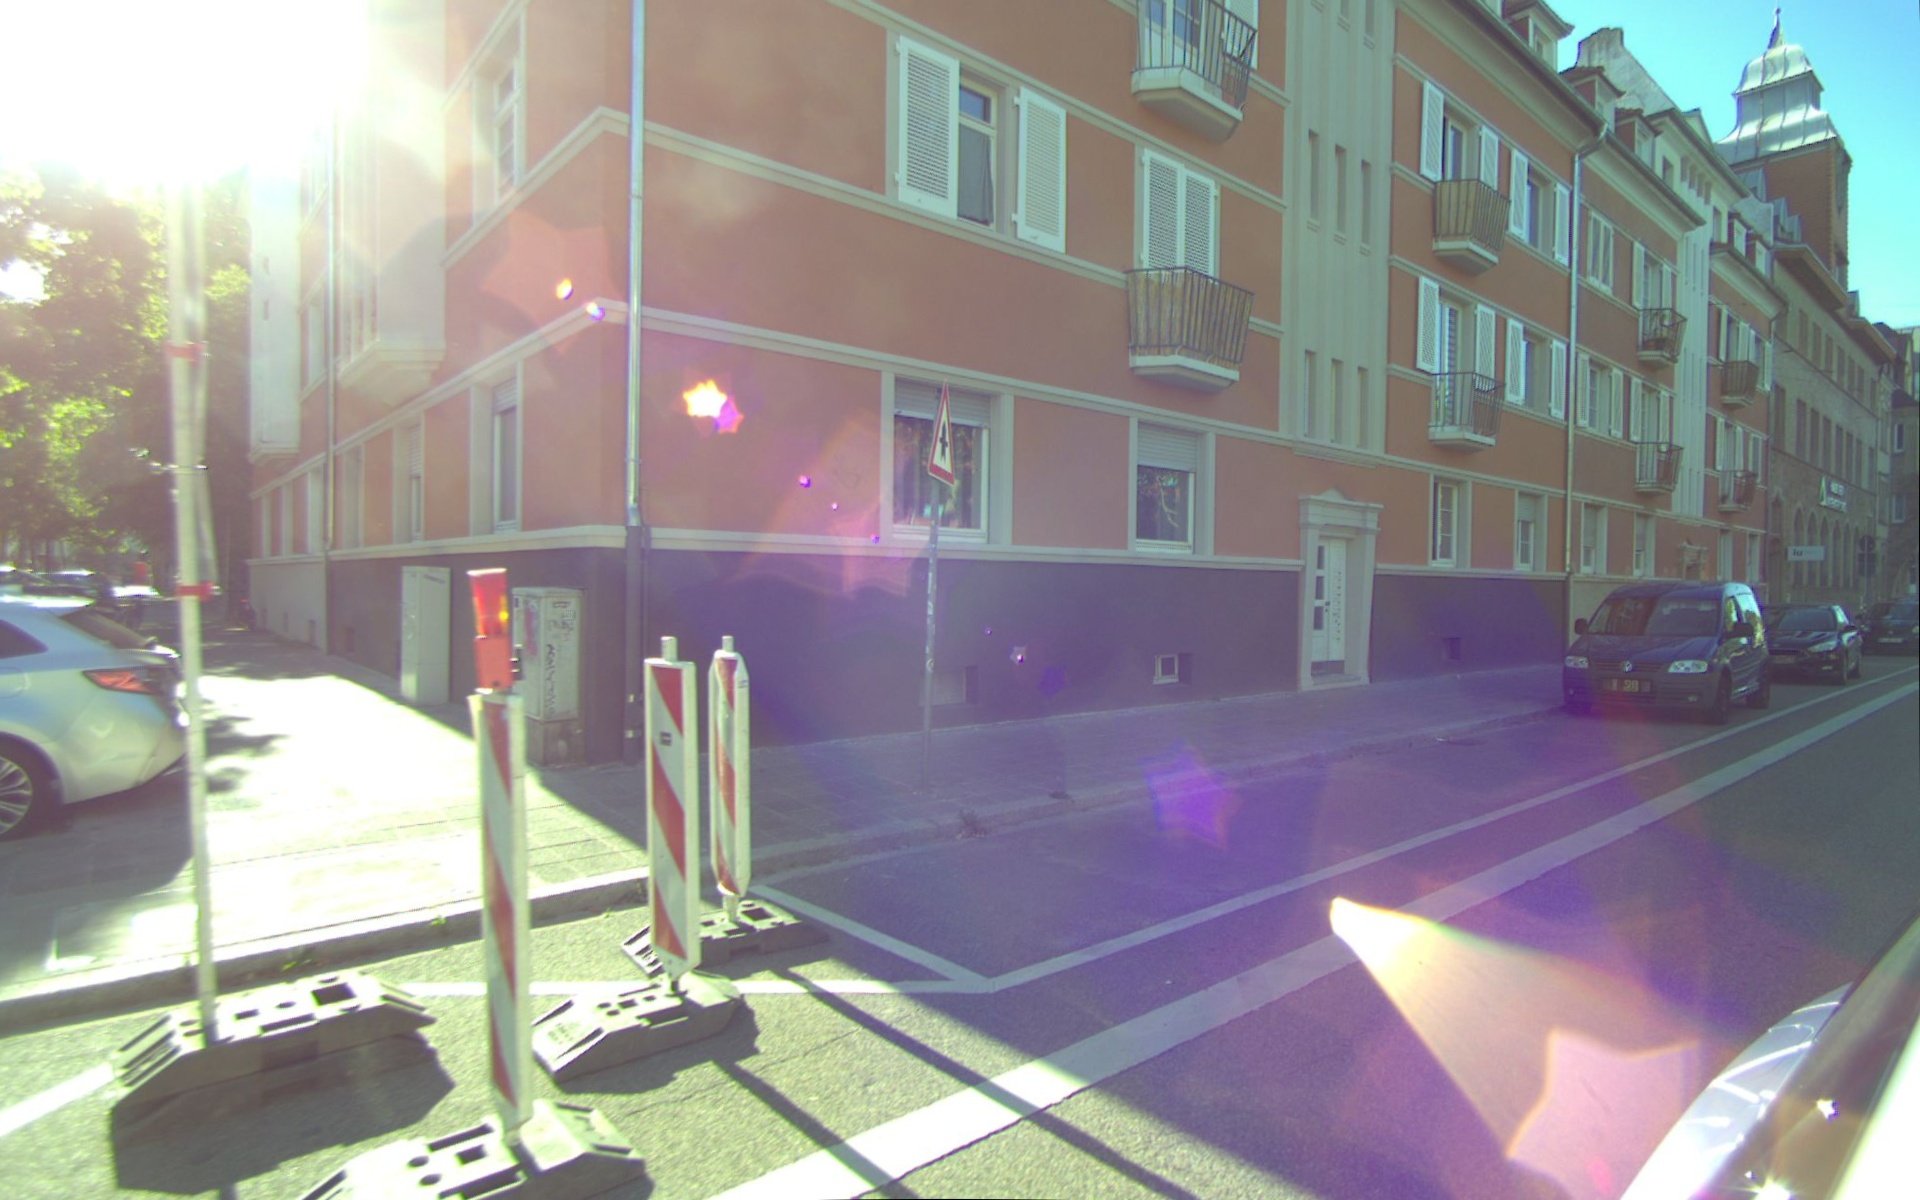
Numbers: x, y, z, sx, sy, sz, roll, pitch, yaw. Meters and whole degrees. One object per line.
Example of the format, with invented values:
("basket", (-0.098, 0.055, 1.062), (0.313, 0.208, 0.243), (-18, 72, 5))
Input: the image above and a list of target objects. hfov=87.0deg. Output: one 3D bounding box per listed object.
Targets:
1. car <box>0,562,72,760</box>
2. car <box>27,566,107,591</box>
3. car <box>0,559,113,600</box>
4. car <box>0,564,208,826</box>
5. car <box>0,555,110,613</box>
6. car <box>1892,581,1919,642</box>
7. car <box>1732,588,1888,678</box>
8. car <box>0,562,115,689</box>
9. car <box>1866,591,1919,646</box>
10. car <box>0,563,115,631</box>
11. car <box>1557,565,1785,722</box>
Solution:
("car", (-9.209, 0.535, 7.081), (4.441, 1.476, 1.776), (-4, 4, -42))
("car", (-61.211, -1.505, 69.438), (4.016, 1.532, 1.706), (-4, 4, -40))
("car", (-37.630, -0.862, 41.752), (4.013, 1.532, 1.707), (-3, 4, -38))
("car", (-6.837, 0.582, 5.337), (4.441, 1.405, 1.705), (-4, 4, -42))
("car", (-28.145, -0.502, 30.358), (4.014, 1.674, 1.706), (1, 2, -40))
("car", (31.330, 0.340, 32.338), (4.731, 1.879, 1.756), (0, 0, -41))
("car", (16.545, 0.566, 19.606), (4.682, 1.531, 1.755), (0, -1, -43))
("car", (-12.432, 0.338, 11.677), (4.019, 1.436, 1.705), (-4, 4, -42))
("car", (27.643, 0.502, 29.241), (3.650, 1.531, 1.635), (0, -1, -40))
("car", (-21.424, -0.051, 22.475), (4.016, 1.405, 1.706), (-4, 4, -40))
("car", (9.845, 0.484, 13.887), (4.199, 1.833, 1.705), (-1, 1, -42))
